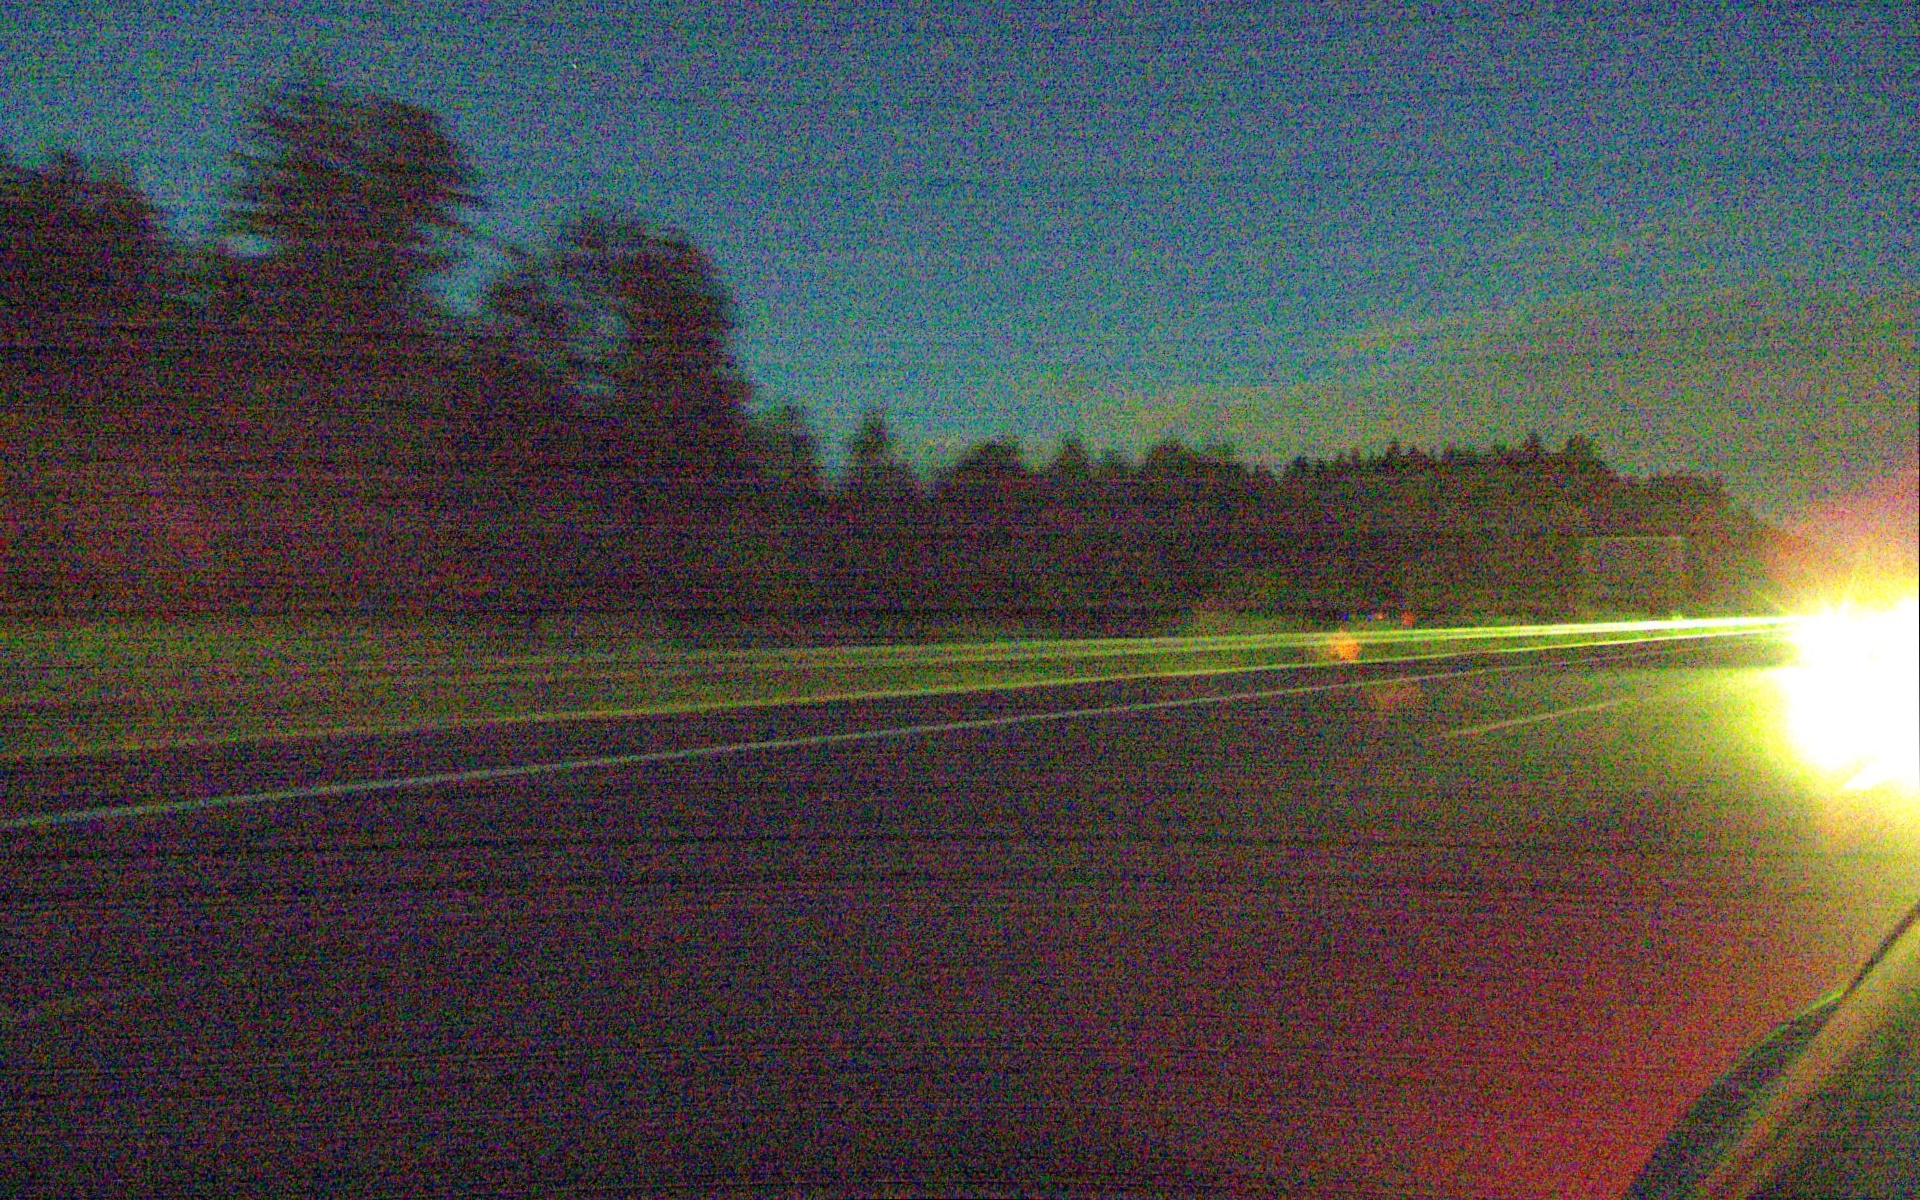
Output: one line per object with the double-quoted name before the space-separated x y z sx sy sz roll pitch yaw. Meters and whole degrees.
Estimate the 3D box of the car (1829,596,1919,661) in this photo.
"car" 22.291 0.647 24.097 4.982 1.419 1.837 1 -2 -43

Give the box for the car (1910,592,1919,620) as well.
"car" 61.915 0.397 64.244 5.080 1.740 1.995 1 -2 -43
